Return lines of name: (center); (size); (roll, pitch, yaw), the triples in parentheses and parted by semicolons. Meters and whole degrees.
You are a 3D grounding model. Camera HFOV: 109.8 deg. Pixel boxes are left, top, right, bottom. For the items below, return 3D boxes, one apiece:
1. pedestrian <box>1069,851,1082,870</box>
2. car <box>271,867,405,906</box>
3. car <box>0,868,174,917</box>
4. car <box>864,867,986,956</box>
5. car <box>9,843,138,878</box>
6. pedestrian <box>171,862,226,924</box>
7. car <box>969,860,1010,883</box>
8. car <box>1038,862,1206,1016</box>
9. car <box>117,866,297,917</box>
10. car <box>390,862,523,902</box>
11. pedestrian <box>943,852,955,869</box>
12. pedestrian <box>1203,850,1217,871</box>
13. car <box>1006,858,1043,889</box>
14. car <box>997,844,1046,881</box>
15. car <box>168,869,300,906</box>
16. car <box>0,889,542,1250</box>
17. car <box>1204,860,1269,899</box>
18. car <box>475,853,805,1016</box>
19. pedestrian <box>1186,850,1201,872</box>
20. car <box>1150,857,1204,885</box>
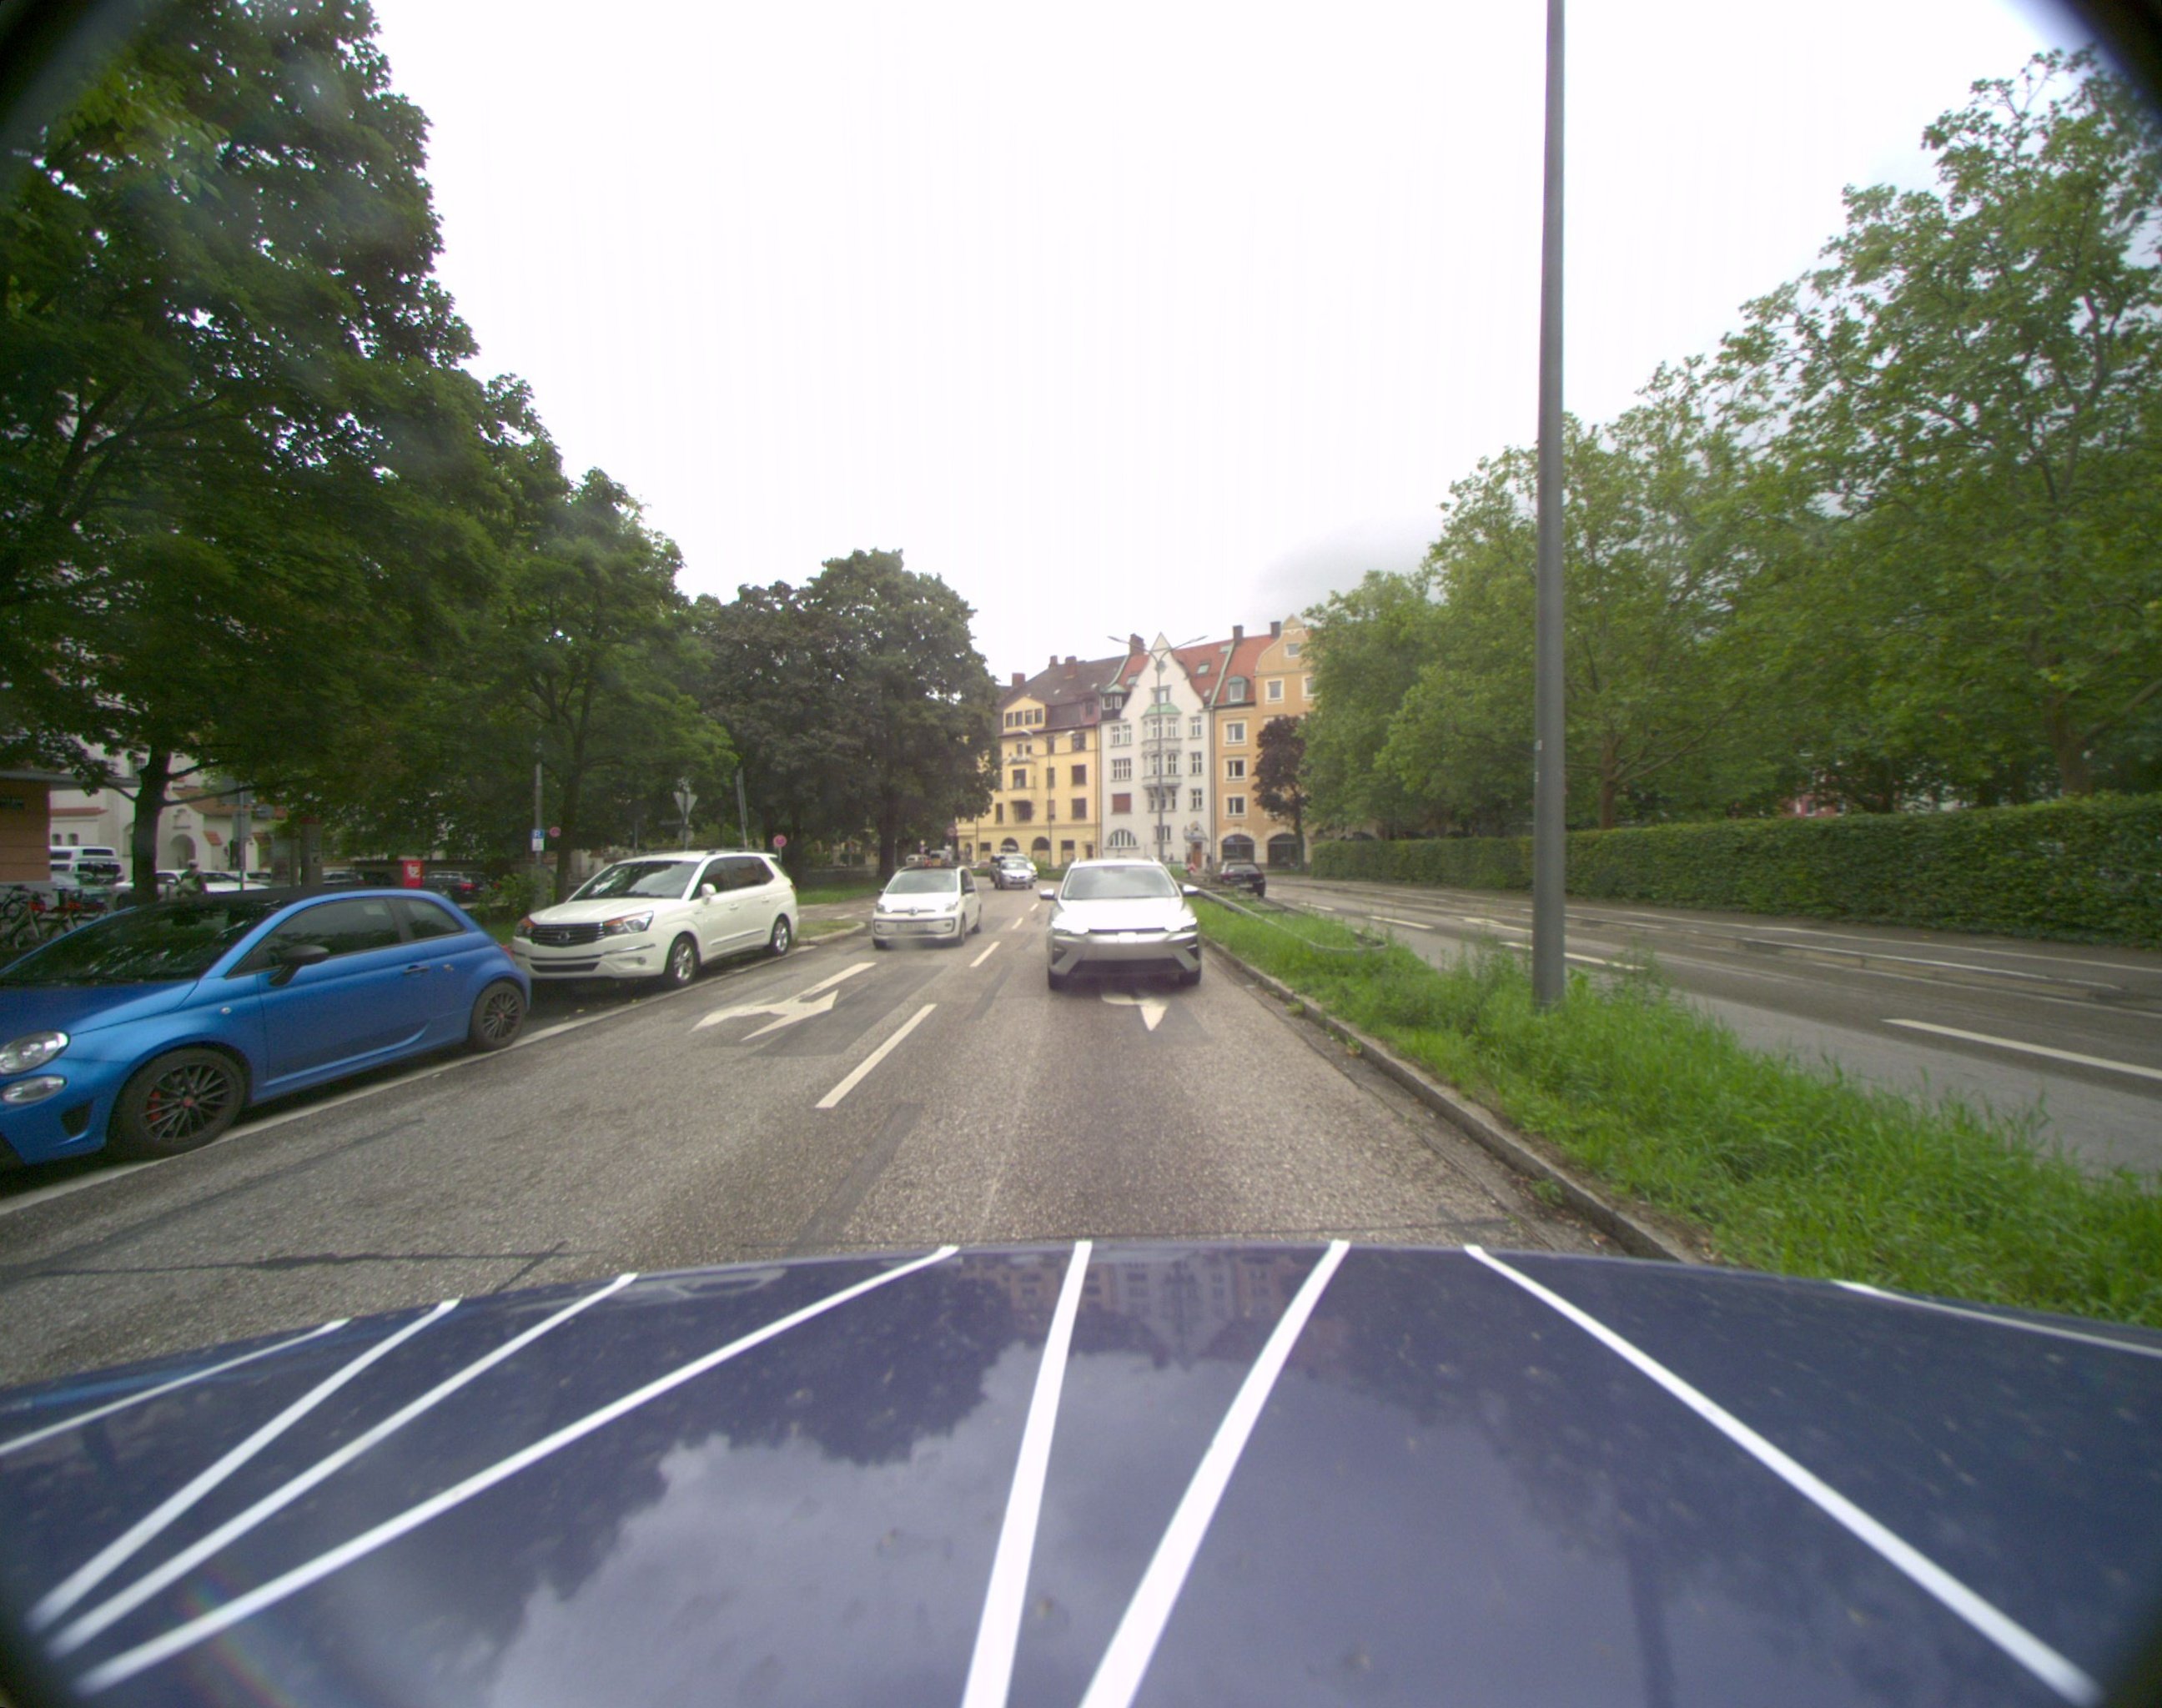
pedestrian: (-0.625, 0.702, 80.782); (1.005, 2.002, 0.880); (-1, 1, 32)
car: (-32.228, 1.382, 33.026); (4.436, 1.458, 1.862); (-2, 1, 10)
car: (-34.354, 1.319, 26.248); (4.436, 1.458, 1.862); (-2, 1, 10)
car: (-2.905, 1.016, 14.868); (1.648, 1.457, 3.619); (0, 0, 0)
car: (-48.398, 0.309, 36.535); (4.436, 1.458, 1.862); (-2, 1, 10)
pedestrian: (-22.942, 1.005, 19.755); (0.602, 1.543, 0.644); (-2, 1, 7)
car: (-8.281, 1.565, 68.597); (1.660, 1.973, 3.993); (-1, 0, -41)
car: (0.419, 0.889, 9.727); (1.710, 1.521, 3.886); (0, 0, 0)
car: (-29.020, 1.231, 25.286); (4.436, 1.458, 1.862); (-2, 1, 10)
car: (-26.419, 1.169, 32.214); (4.436, 1.458, 1.862); (-2, 1, 10)
pedestrian: (-15.727, 0.738, 90.576); (1.005, 2.002, 0.880); (-1, 1, 32)
pedestrian: (12.447, 0.644, 73.164); (1.005, 2.002, 0.880); (-1, 1, 32)
car: (-2.901, 1.001, 39.874); (1.648, 1.521, 3.886); (0, 0, 0)
car: (-4.060, 0.537, 50.720); (1.916, 2.337, 4.936); (-1, 0, -21)
car: (-38.417, 1.516, 34.511); (4.436, 1.458, 1.862); (-2, 1, 10)
car: (-5.812, 1.096, 5.234); (1.523, 1.540, 3.662); (-1, 0, 1)
car: (6.021, 0.950, 29.787); (1.758, 1.377, 4.000); (-1, 0, 1)
car: (-5.945, 0.924, 11.179); (1.848, 1.845, 5.024); (-1, 0, 1)
pedestrian: (10.831, 0.672, 73.137); (1.005, 2.002, 0.880); (-1, 1, 32)
car: (5.086, 0.859, 40.651); (1.760, 1.377, 3.996); (-1, 0, -10)
